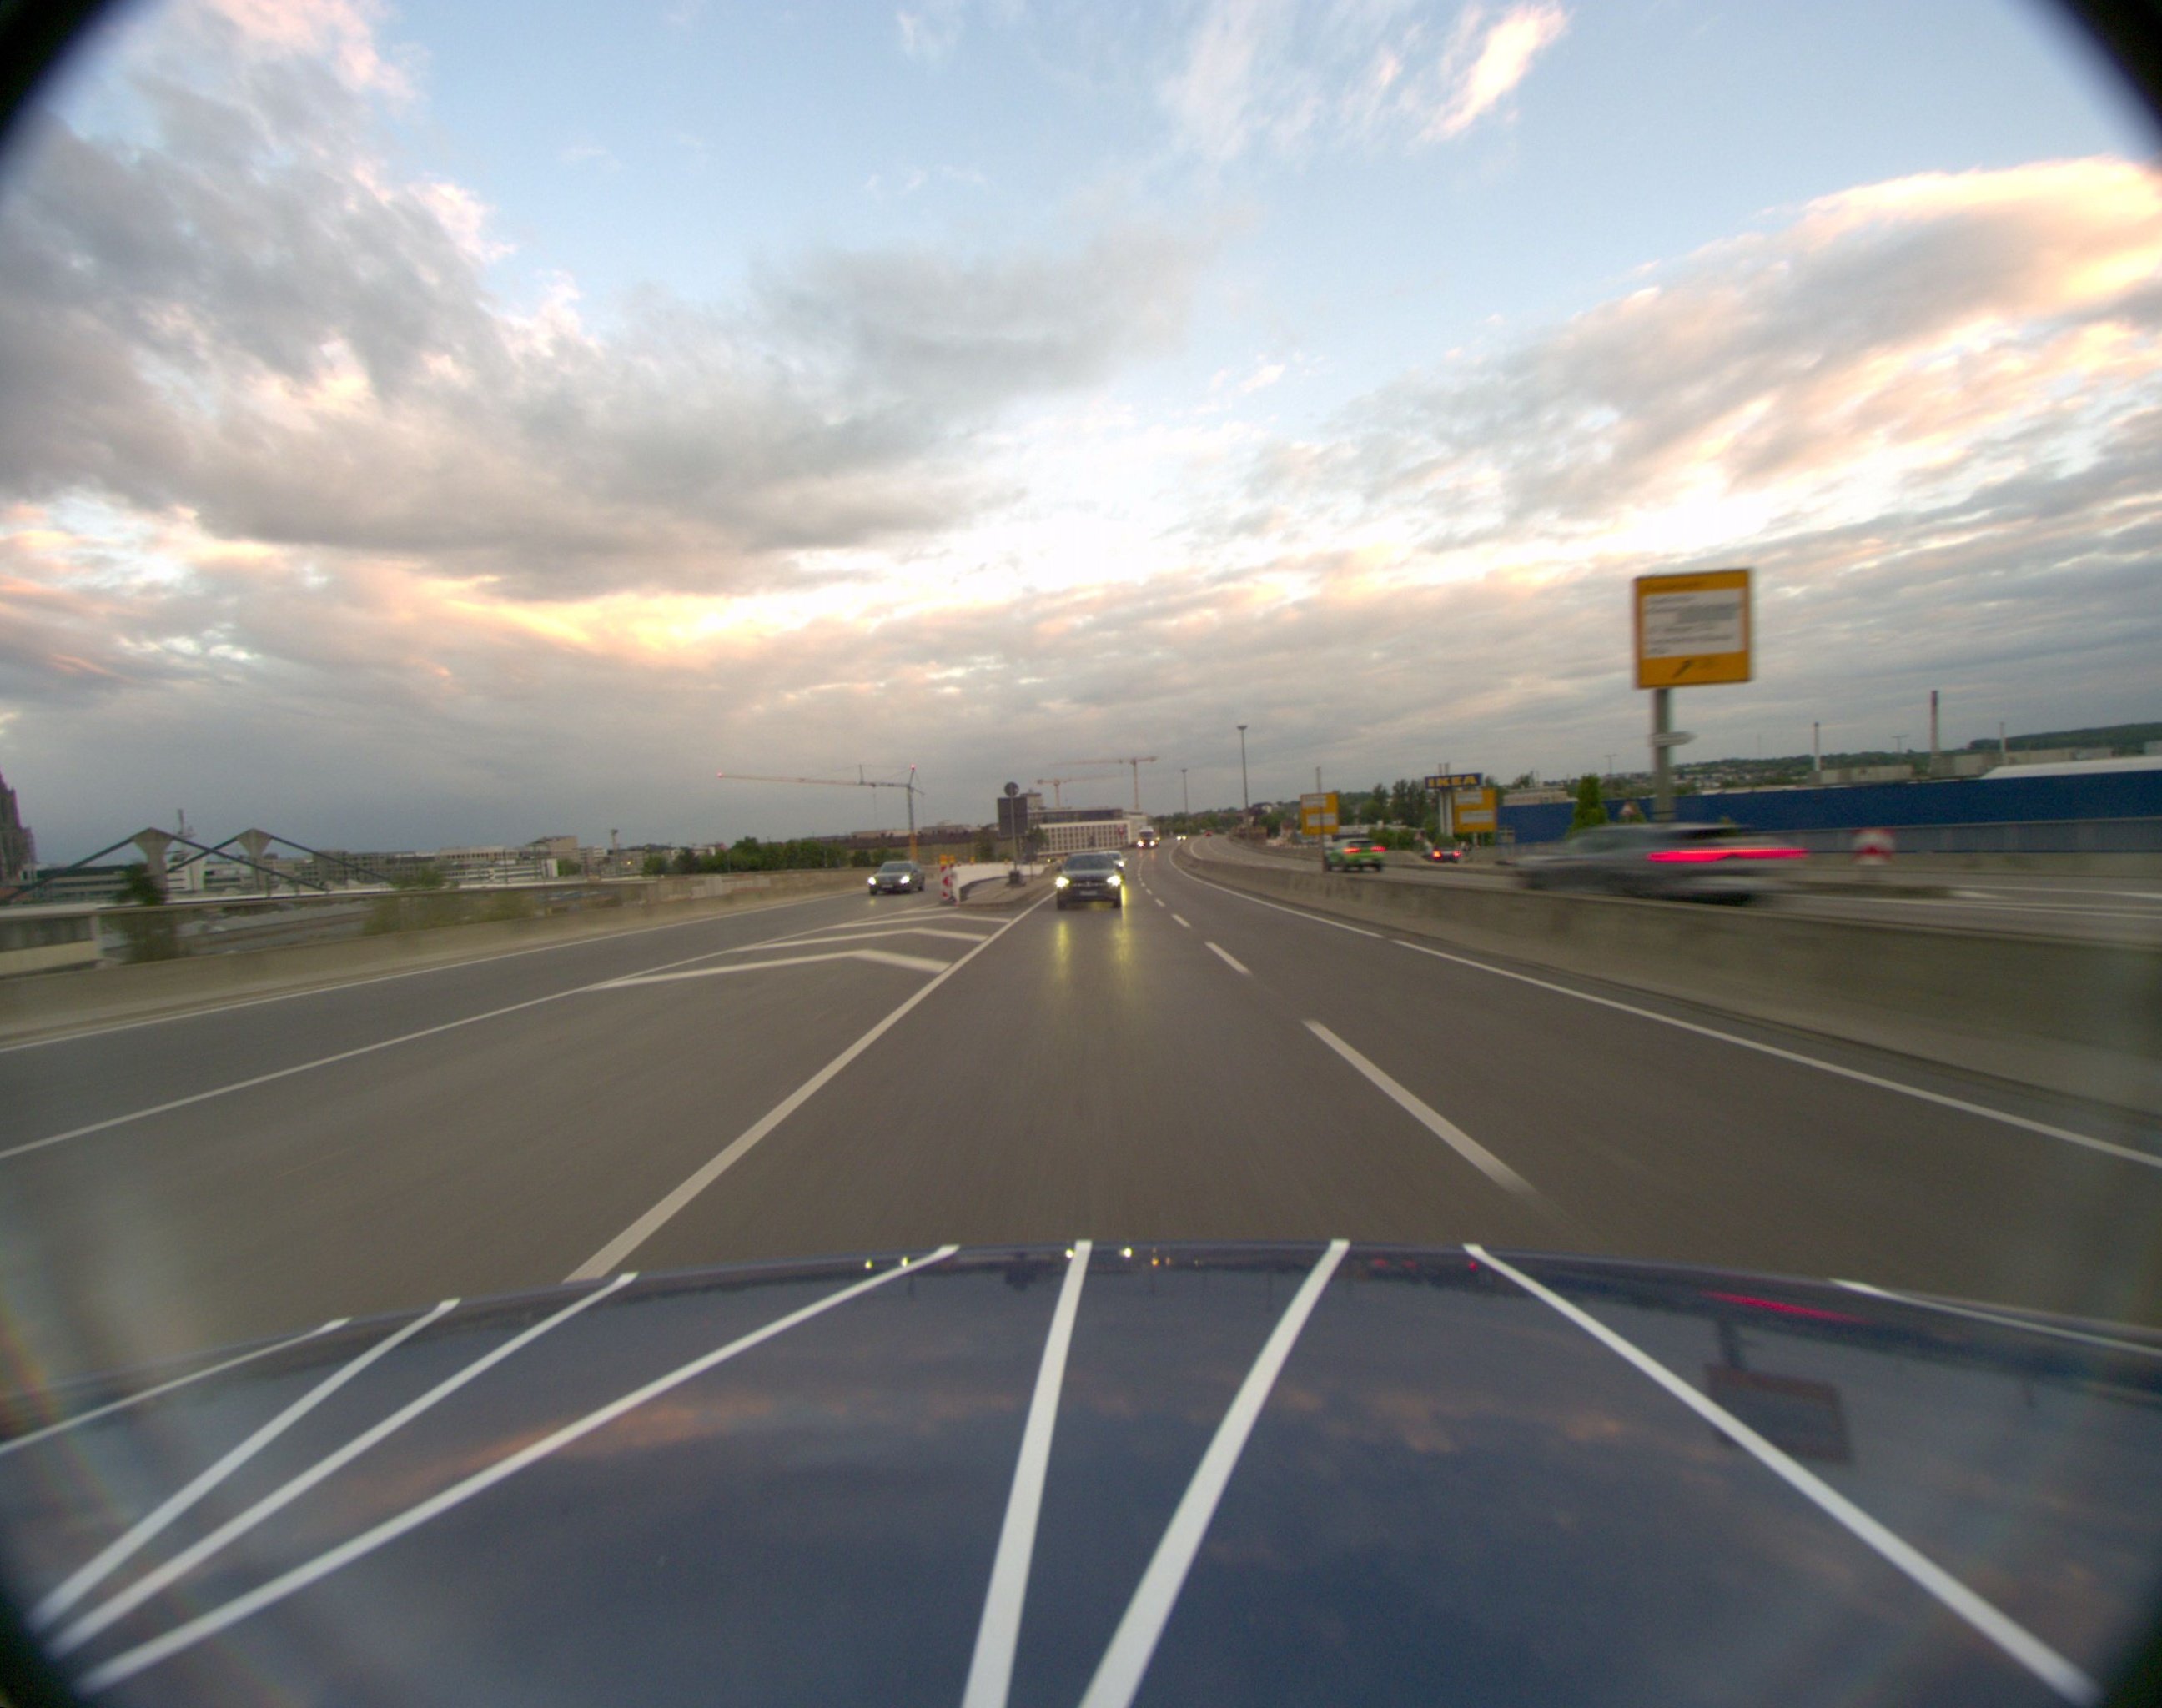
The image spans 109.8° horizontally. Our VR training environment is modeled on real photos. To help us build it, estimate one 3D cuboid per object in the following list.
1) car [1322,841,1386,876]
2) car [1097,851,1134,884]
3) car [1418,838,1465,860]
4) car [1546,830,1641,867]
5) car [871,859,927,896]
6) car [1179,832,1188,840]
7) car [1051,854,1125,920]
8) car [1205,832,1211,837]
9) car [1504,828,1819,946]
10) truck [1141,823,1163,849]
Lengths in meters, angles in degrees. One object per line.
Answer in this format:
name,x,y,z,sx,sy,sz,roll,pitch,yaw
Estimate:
car,12.782,0.157,35.782,1.714,1.486,4.081,-2,1,3
car,1.928,0.715,42.458,1.891,1.642,4.344,-3,1,3
car,25.785,-0.341,54.475,1.800,1.477,3.843,-2,0,5
car,24.188,-0.276,36.051,1.902,1.586,4.164,-2,0,5
car,-8.390,1.037,35.313,1.755,1.482,3.998,-2,0,-3
car,27.456,-4.702,203.284,1.997,2.002,4.002,-2,2,10
car,0.276,0.835,21.245,1.823,1.602,4.213,-2,0,3
car,39.131,-5.976,233.769,1.832,1.472,4.289,-2,2,11
car,9.226,0.375,12.689,1.816,1.526,4.544,-3,2,1
truck,12.771,-3.291,135.984,3.163,4.370,8.795,-2,2,9
